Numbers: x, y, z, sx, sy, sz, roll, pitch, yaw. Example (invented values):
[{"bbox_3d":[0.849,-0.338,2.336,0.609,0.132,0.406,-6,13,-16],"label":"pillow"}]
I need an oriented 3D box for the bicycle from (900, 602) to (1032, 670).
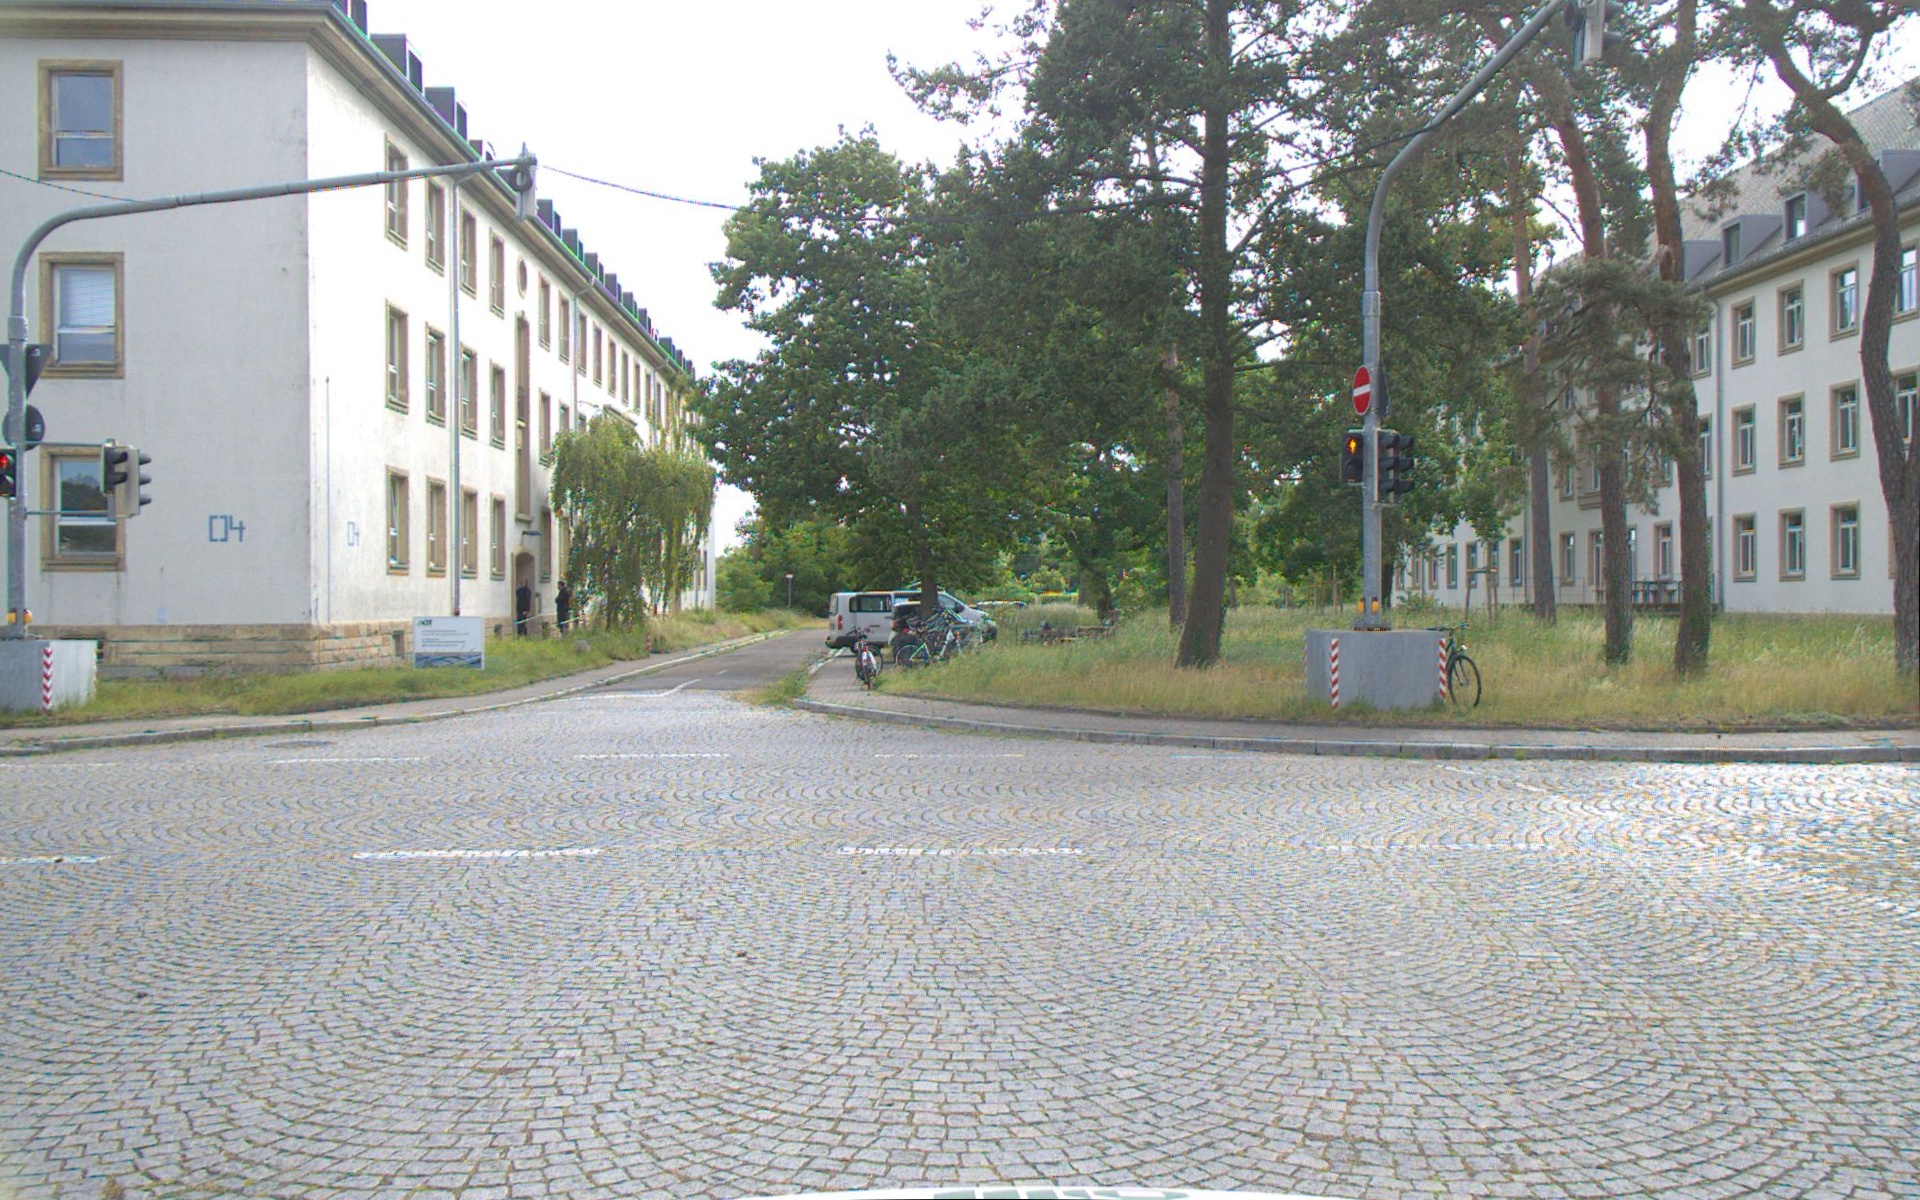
[{"bbox_3d":[0.114,0.741,34.934,2.747,1.396,0.950,0,0,-3],"label":"bicycle"}]

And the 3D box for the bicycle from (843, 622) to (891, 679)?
[{"bbox_3d":[-1.745,0.942,31.150,0.712,1.014,1.979,0,0,2],"label":"bicycle"}]

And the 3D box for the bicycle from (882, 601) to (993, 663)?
[{"bbox_3d":[-0.521,0.734,38.138,2.517,1.396,0.950,0,0,-4],"label":"bicycle"}]

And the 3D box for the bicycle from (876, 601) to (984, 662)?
[{"bbox_3d":[-0.716,0.740,38.968,2.517,1.396,0.950,0,0,-4],"label":"bicycle"}]

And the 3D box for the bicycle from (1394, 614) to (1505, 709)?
[{"bbox_3d":[6.092,0.737,20.681,0.632,1.081,1.832,-4,0,-5],"label":"bicycle"}]

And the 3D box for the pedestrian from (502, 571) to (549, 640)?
[{"bbox_3d":[-12.300,0.168,46.867,1.174,1.903,1.545,1,-1,-12],"label":"pedestrian"}]

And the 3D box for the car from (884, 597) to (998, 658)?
[{"bbox_3d":[-0.570,0.783,47.142,3.160,1.649,1.936,1,-1,-3],"label":"car"}]

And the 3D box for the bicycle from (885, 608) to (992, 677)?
[{"bbox_3d":[-0.440,0.820,32.495,2.071,1.329,0.874,0,0,-3],"label":"bicycle"}]

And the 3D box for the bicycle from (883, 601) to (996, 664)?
[{"bbox_3d":[-0.474,0.727,37.300,2.517,1.396,0.950,0,0,-4],"label":"bicycle"}]

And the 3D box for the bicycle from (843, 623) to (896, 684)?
[{"bbox_3d":[-1.587,0.923,29.063,0.882,1.014,1.977,0,0,-3],"label":"bicycle"}]

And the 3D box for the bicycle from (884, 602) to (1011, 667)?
[{"bbox_3d":[-0.292,0.749,36.344,2.747,1.396,0.950,0,0,-3],"label":"bicycle"}]

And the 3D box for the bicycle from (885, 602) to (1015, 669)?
[{"bbox_3d":[-0.227,0.741,35.453,2.747,1.396,0.950,0,0,-3],"label":"bicycle"}]

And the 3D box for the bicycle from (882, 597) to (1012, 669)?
[{"bbox_3d":[-0.279,0.650,33.115,2.567,1.391,0.874,0,0,-3],"label":"bicycle"}]

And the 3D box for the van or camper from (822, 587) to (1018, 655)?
[{"bbox_3d":[-1.246,0.626,50.586,5.646,1.991,2.229,0,0,-15],"label":"van or camper"}]

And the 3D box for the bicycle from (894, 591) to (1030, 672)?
[{"bbox_3d":[0.025,0.634,33.999,2.747,1.611,0.950,0,0,-3],"label":"bicycle"}]

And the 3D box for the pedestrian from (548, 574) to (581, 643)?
[{"bbox_3d":[-11.507,0.240,48.126,0.850,1.966,0.834,2,-1,-14],"label":"pedestrian"}]
